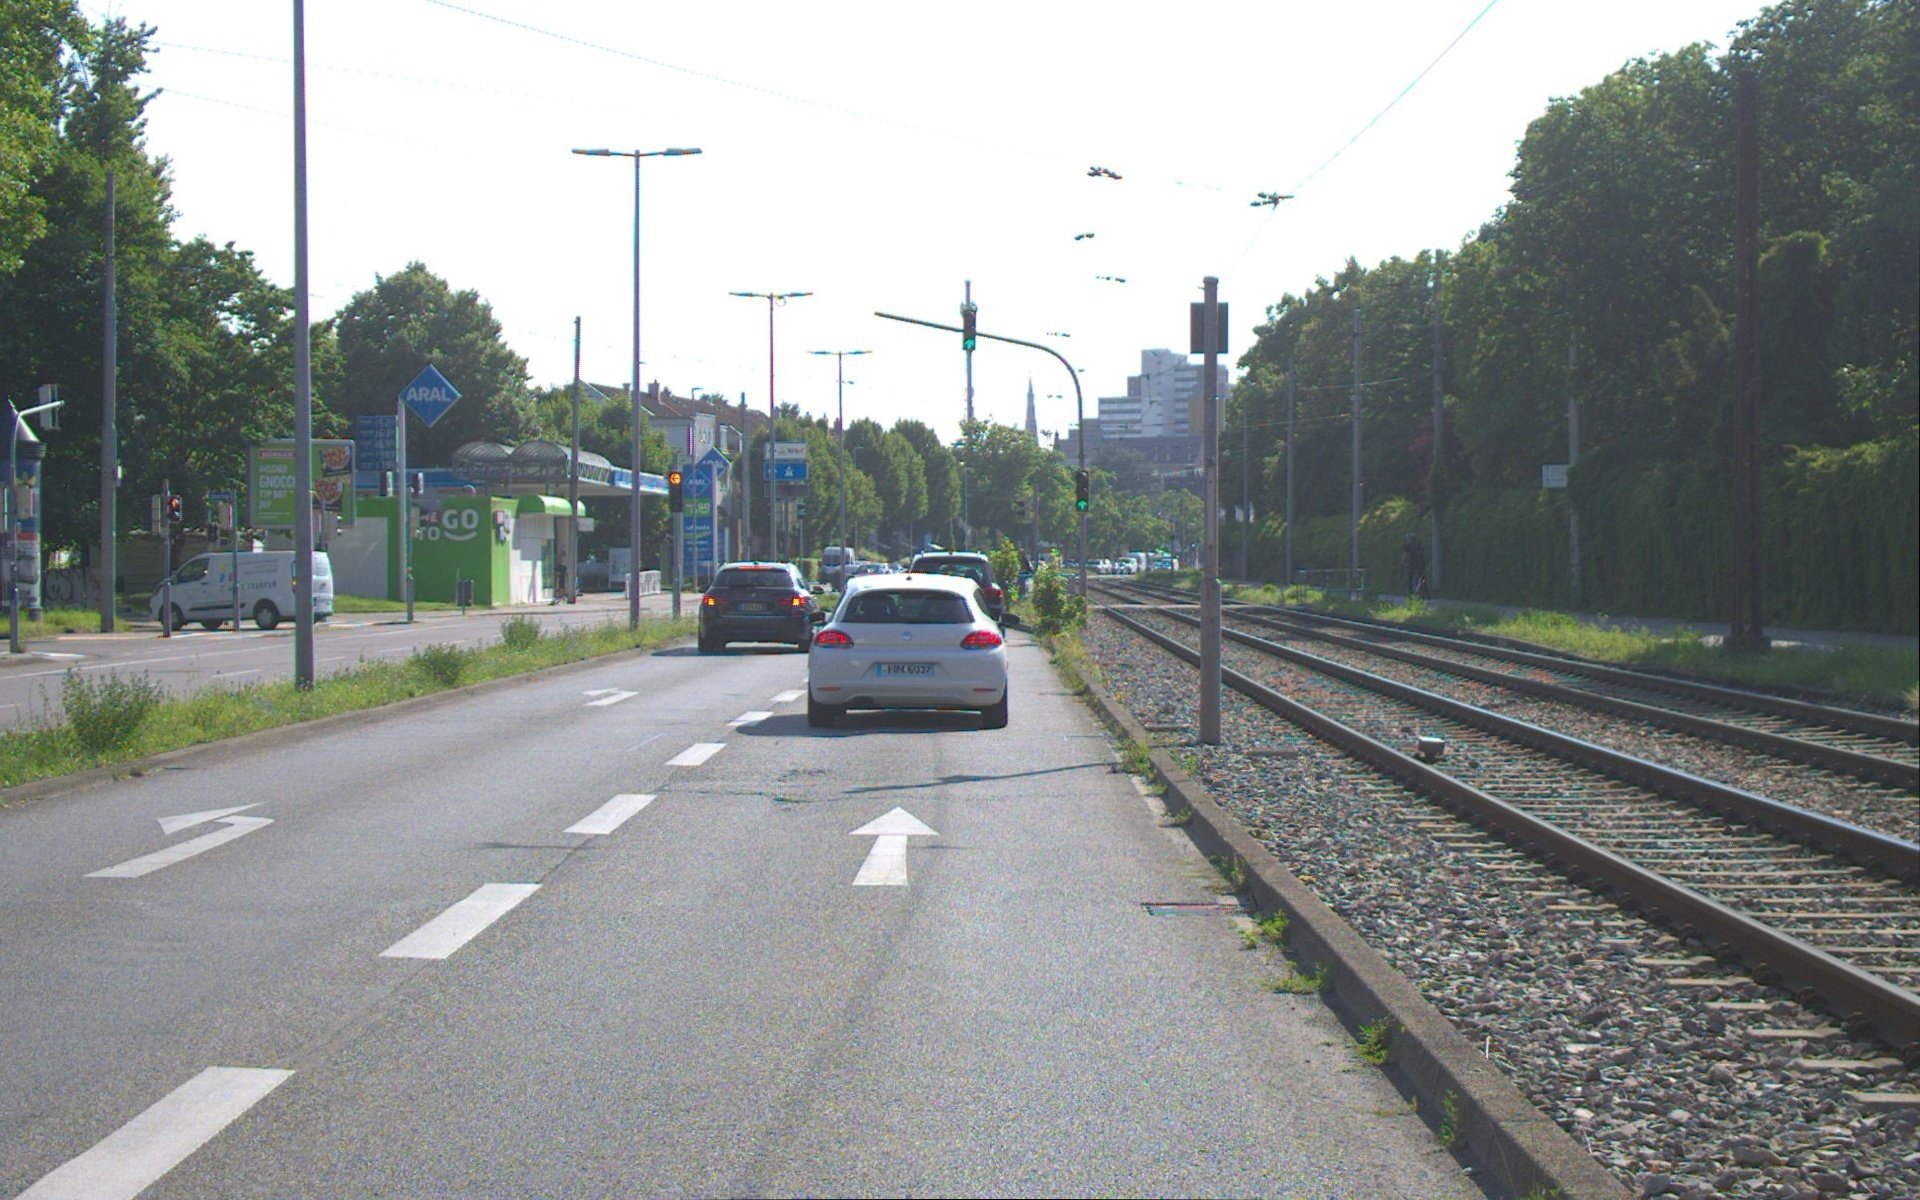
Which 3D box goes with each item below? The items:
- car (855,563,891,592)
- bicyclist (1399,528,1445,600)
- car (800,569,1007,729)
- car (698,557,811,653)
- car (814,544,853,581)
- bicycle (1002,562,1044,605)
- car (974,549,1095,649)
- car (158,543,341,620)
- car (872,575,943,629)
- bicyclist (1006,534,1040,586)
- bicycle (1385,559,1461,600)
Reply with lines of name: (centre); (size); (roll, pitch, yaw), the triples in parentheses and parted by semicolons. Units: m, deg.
car: (-4.338, -1.139, 172.182); (1.653, 1.390, 4.134); (0, 1, 1)
bicyclist: (12.977, -1.013, 96.526); (1.034, 1.987, 0.946); (0, 1, 26)
car: (-0.486, 0.412, 31.913); (1.781, 1.351, 3.601); (1, 1, 0)
car: (-3.375, 0.052, 56.865); (1.760, 1.480, 4.645); (1, 1, -3)
car: (-8.231, -2.458, 224.566); (1.994, 2.368, 4.538); (-1, 1, 5)
bicycle: (1.744, -0.457, 94.911); (0.644, 1.150, 1.935); (0, 1, 16)
car: (1.213, -0.044, 57.431); (1.724, 1.587, 3.601); (1, 1, -3)
car: (-18.389, -0.468, 88.935); (4.393, 1.956, 1.821); (0, 0, 24)
car: (-1.503, 0.042, 99.262); (1.749, 1.480, 3.601); (1, 1, 3)
bicyclist: (1.741, -1.106, 94.931); (0.644, 1.411, 1.012); (-2, 1, 16)
bicycle: (13.000, -0.575, 96.525); (1.923, 1.111, 0.946); (0, 1, 26)
